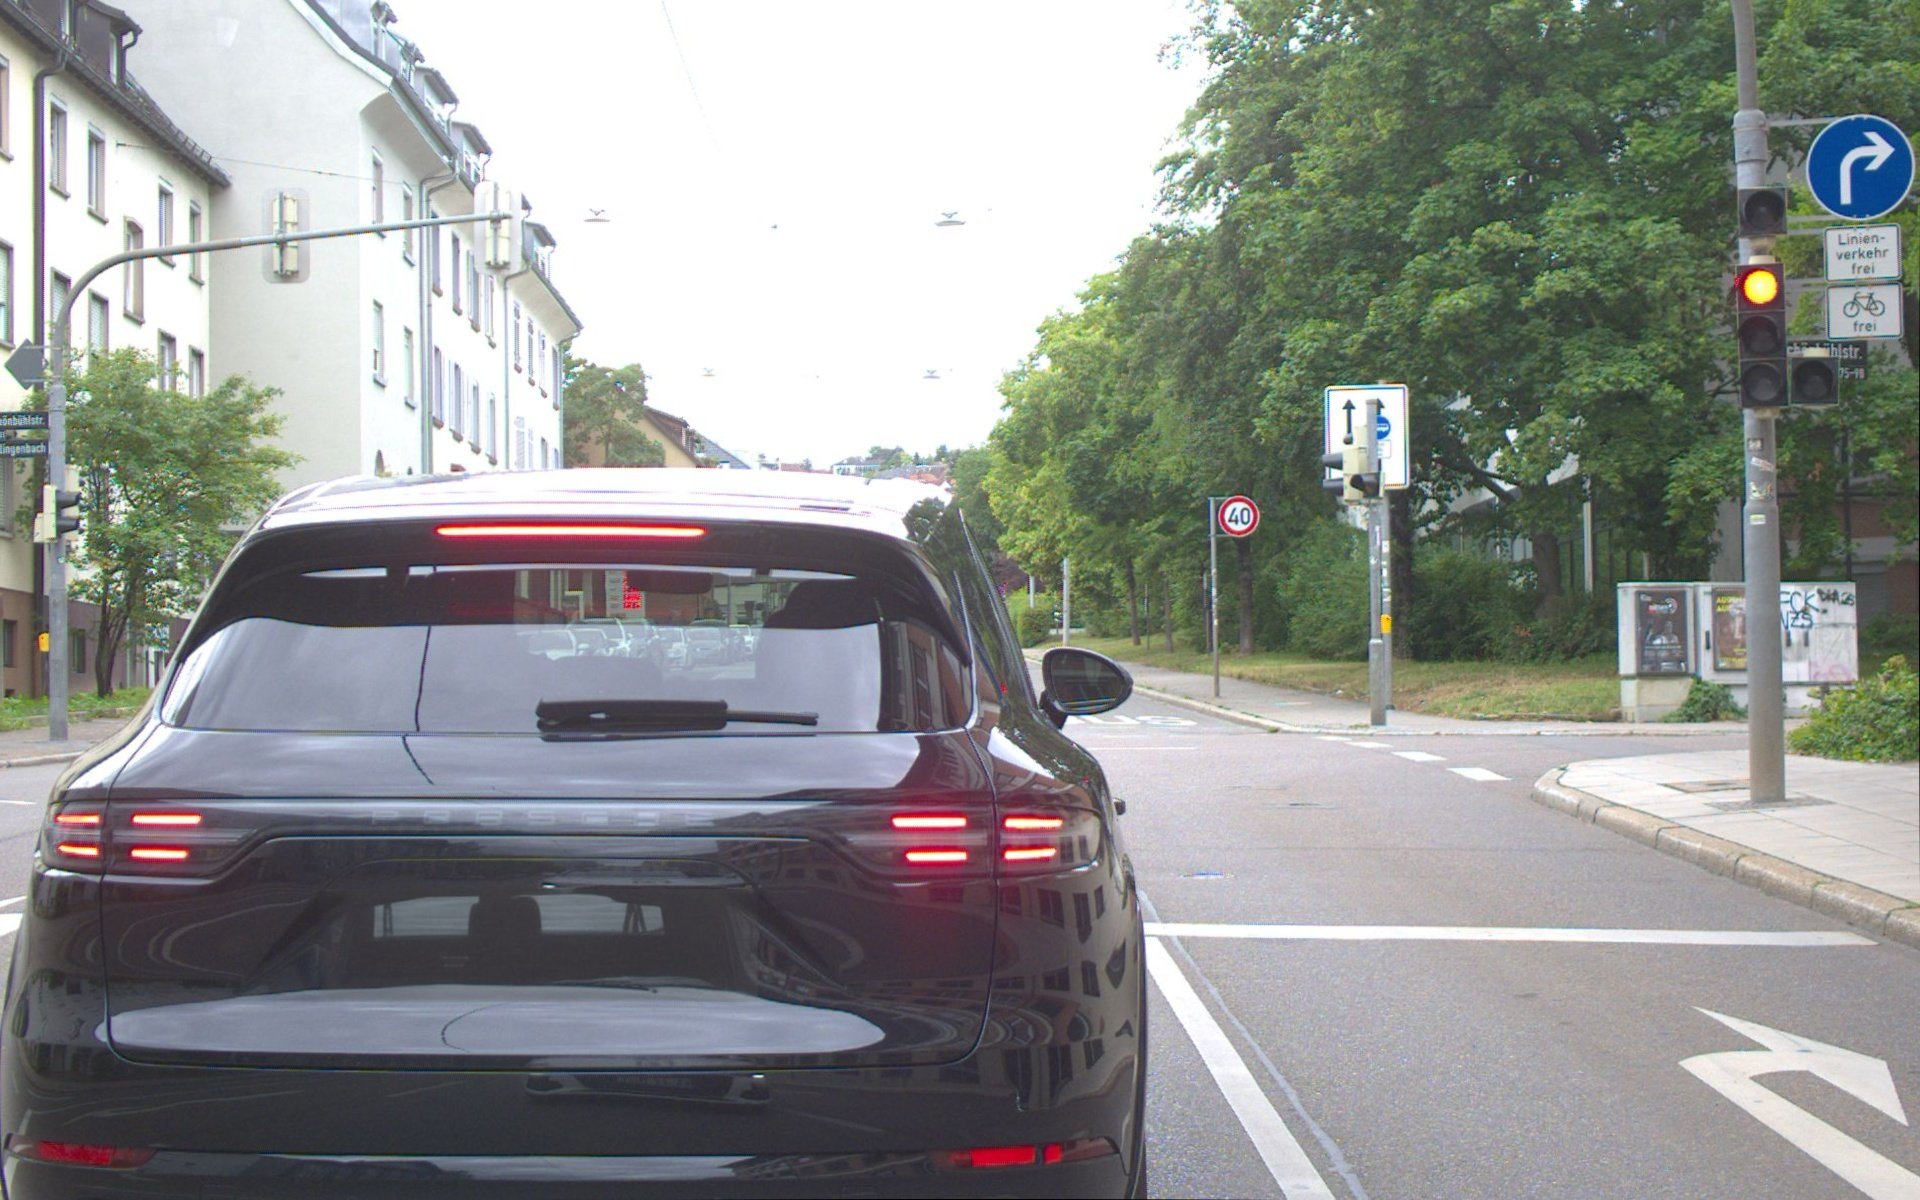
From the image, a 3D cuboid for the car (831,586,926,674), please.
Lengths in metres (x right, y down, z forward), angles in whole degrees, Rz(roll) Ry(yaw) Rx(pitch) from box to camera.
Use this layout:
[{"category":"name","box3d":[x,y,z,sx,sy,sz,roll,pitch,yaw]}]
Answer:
[{"category":"car","box3d":[-1.530,0.540,64.004,1.688,1.547,3.889,1,1,-2]}]

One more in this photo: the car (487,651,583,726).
[{"category":"car","box3d":[-8.577,1.768,69.606,1.669,1.357,4.001,0,1,-3]}]

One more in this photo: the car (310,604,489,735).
[{"category":"car","box3d":[-7.373,0.883,45.520,1.664,1.514,3.740,-4,1,0]}]

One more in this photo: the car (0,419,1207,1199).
[{"category":"car","box3d":[-0.661,0.566,7.138,1.993,1.691,4.000,1,1,-1]}]
